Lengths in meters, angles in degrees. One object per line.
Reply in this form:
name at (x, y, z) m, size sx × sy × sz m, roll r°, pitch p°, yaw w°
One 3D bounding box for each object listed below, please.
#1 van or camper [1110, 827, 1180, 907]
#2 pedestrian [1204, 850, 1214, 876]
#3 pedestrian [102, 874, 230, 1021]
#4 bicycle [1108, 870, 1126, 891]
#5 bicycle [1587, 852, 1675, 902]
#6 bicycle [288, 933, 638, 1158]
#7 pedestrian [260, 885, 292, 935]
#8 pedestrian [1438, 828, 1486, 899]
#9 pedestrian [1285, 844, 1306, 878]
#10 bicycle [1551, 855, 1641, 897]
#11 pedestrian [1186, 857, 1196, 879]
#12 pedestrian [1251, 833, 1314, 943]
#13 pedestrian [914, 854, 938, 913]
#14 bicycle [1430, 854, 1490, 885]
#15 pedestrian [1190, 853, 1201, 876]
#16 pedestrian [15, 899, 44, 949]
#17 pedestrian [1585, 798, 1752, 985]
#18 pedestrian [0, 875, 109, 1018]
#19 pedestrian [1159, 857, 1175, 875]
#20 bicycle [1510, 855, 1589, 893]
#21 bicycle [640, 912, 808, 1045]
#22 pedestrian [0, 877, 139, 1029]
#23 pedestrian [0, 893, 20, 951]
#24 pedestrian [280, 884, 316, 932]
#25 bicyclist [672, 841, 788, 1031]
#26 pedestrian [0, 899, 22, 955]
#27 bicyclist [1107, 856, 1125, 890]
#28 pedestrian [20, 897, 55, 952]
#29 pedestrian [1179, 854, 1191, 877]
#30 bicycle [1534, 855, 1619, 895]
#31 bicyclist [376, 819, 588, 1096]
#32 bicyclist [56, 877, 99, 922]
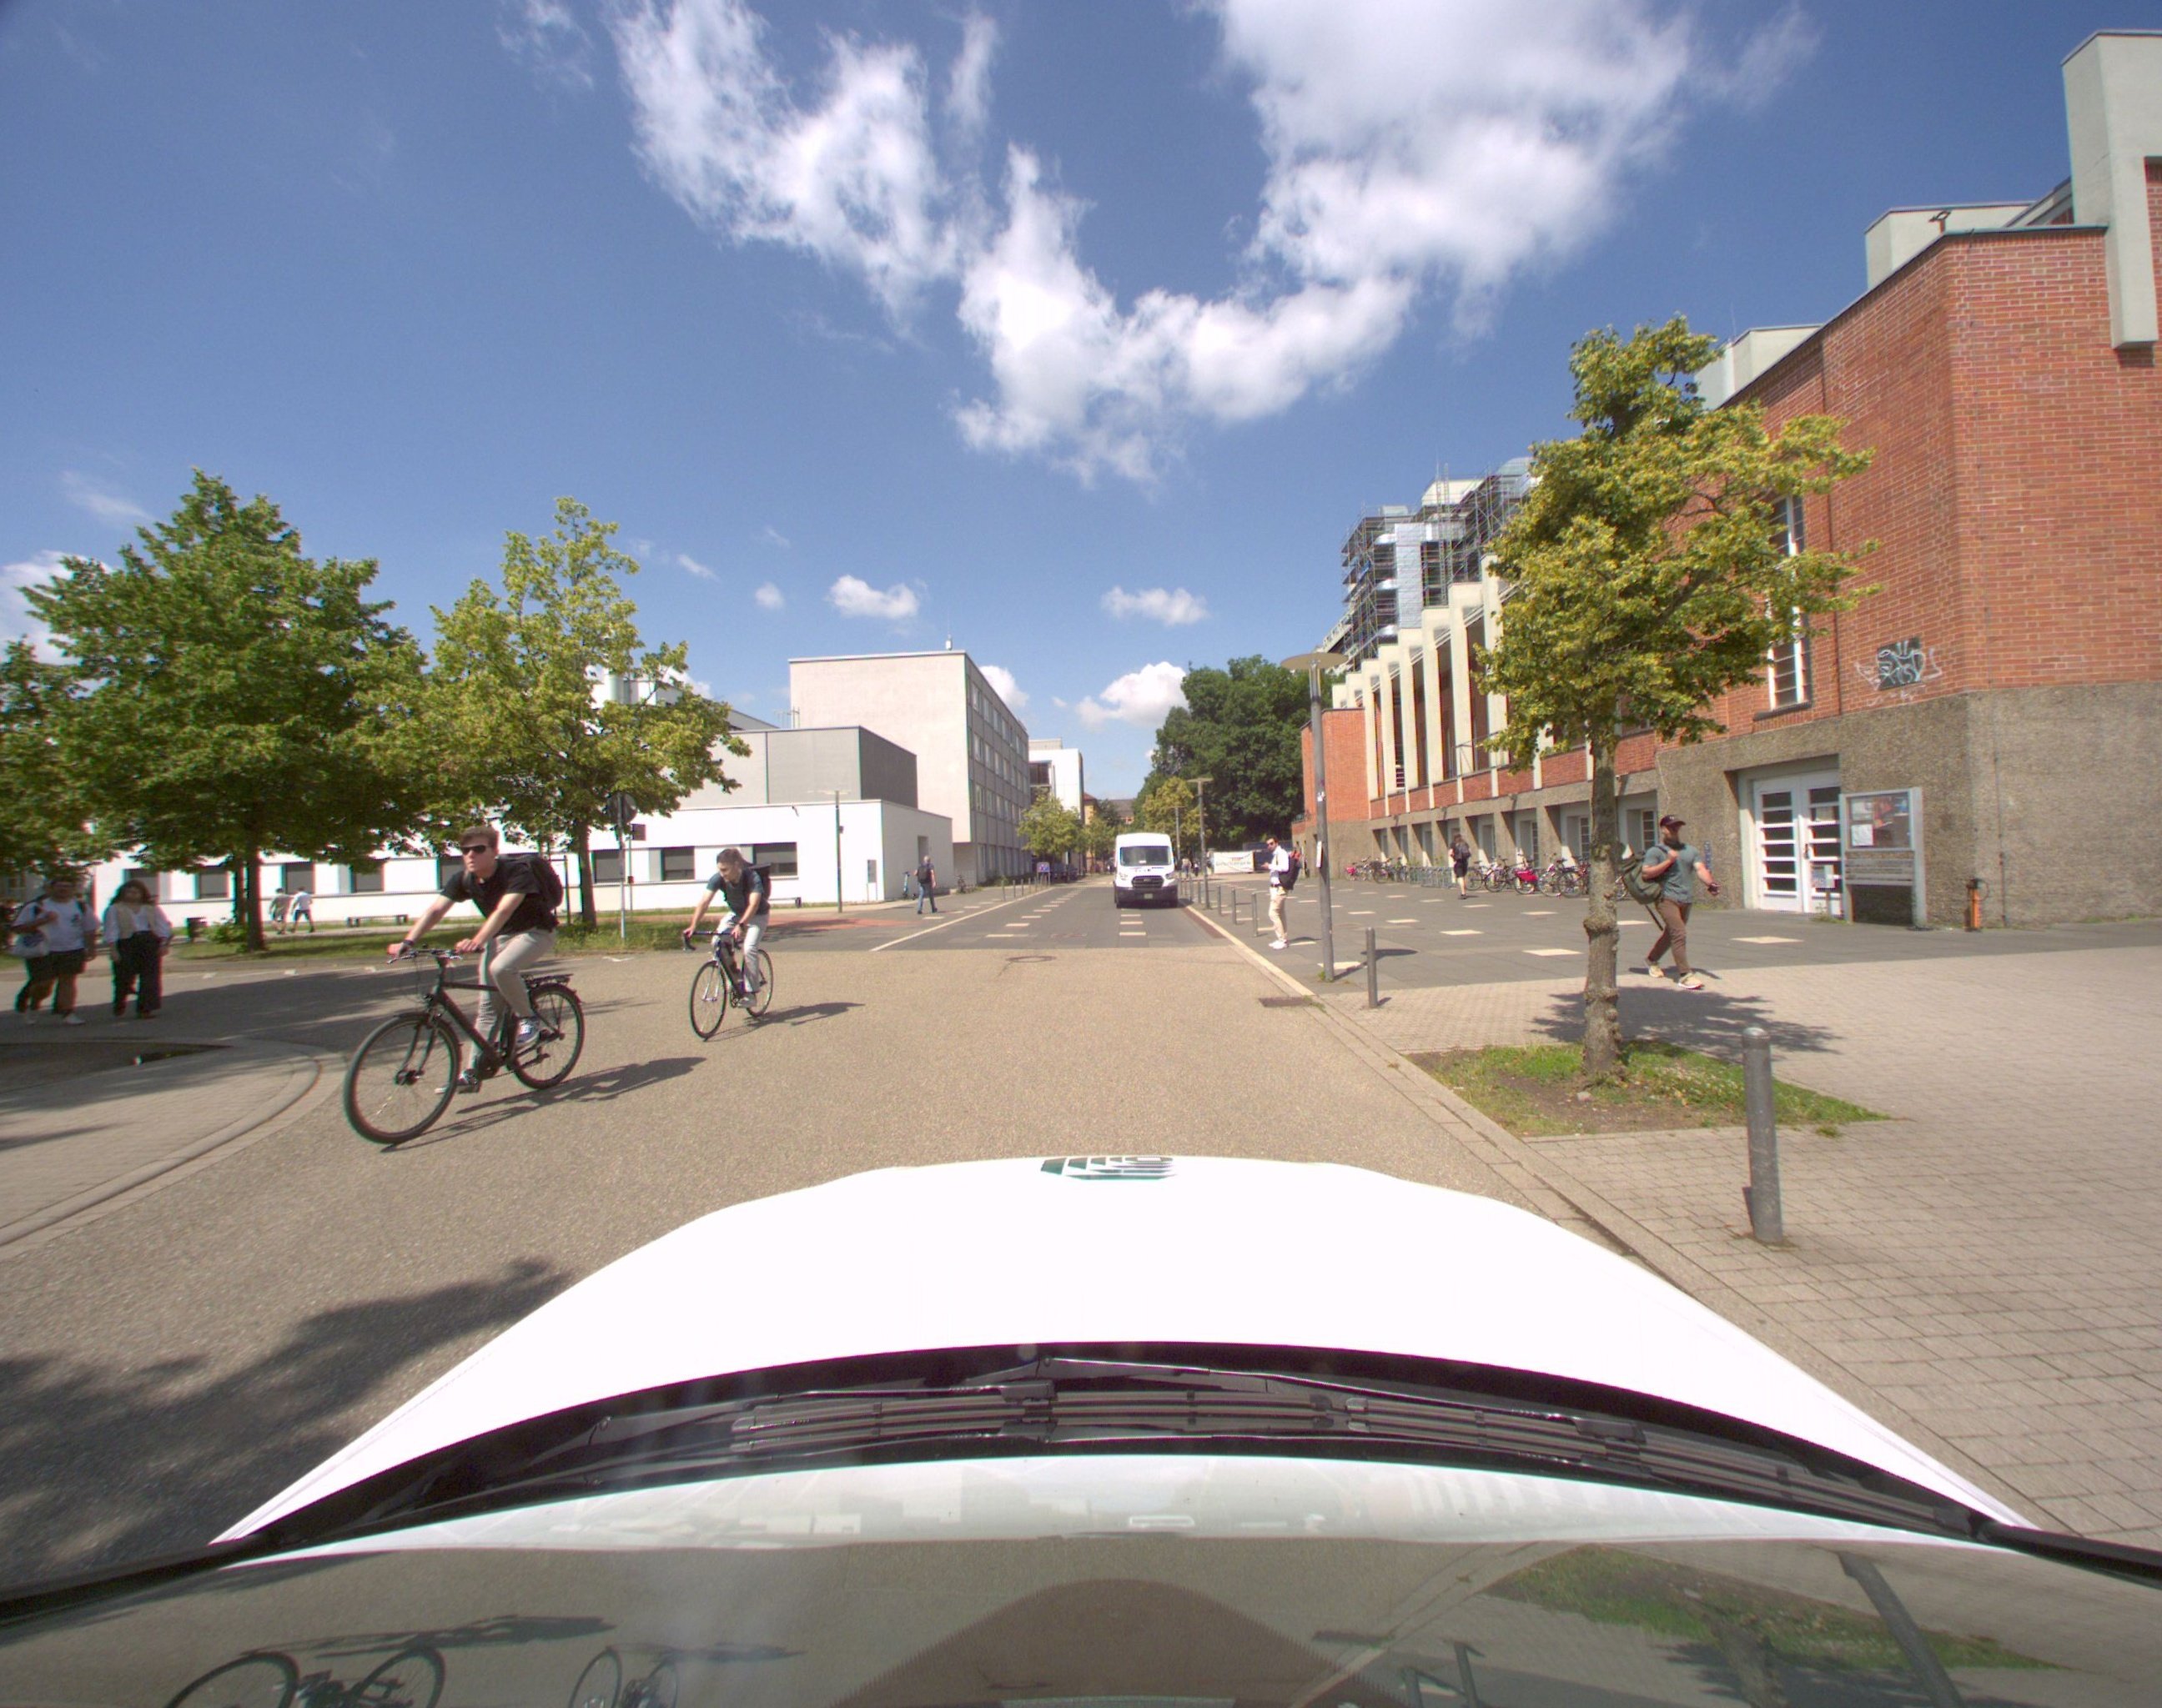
van or camper at (2.069, 0.446, 27.574) m, size 1.987 × 2.446 × 4.570 m, roll -2°, pitch -1°, yaw 1°
pedestrian at (9.296, 0.650, 59.329) m, size 0.574 × 1.860 × 0.570 m, roll -2°, pitch -1°, yaw 1°
pedestrian at (-11.557, 1.136, 10.300) m, size 0.843 × 1.708 × 0.860 m, roll -2°, pitch 1°, yaw 30°
bicycle at (1.853, 1.355, 41.631) m, size 0.702 × 0.993 × 1.915 m, roll -3°, pitch -3°, yaw 9°
bicycle at (12.381, 0.509, 18.360) m, size 1.529 × 1.033 × 0.560 m, roll -3°, pitch -1°, yaw 2°
bicycle at (-3.770, 1.098, 5.251) m, size 0.674 × 0.965 × 2.003 m, roll -2°, pitch -1°, yaw 1°
pedestrian at (-29.409, 2.028, 29.755) m, size 0.549 × 1.764 × 0.587 m, roll -2°, pitch -1°, yaw 3°
pedestrian at (10.476, 0.262, 22.445) m, size 0.786 × 1.860 × 1.117 m, roll -3°, pitch -1°, yaw 4°
pedestrian at (12.086, 0.409, 45.870) m, size 0.849 × 1.860 × 1.116 m, roll -2°, pitch -1°, yaw 1°
bicycle at (12.768, 0.535, 20.214) m, size 1.802 × 0.912 × 0.560 m, roll -3°, pitch -1°, yaw 2°
pedestrian at (9.637, 1.235, 71.372) m, size 0.786 × 1.860 × 1.027 m, roll -3°, pitch -1°, yaw 4°
pedestrian at (3.300, 0.554, 13.438) m, size 0.699 × 1.694 × 0.963 m, roll -5°, pitch -1°, yaw 3°
pedestrian at (-4.836, 0.906, 25.418) m, size 0.667 × 1.785 × 0.982 m, roll -1°, pitch -2°, yaw -10°
bicycle at (13.464, 0.535, 28.976) m, size 1.802 × 0.985 × 0.560 m, roll -4°, pitch -1°, yaw 2°
pedestrian at (9.408, 0.871, 67.099) m, size 0.786 × 1.860 × 1.027 m, roll -3°, pitch -1°, yaw 4°
pedestrian at (-43.600, 2.873, 33.787) m, size 0.614 × 2.014 × 0.653 m, roll 0°, pitch -2°, yaw -41°
pedestrian at (5.909, 0.363, 8.282) m, size 0.849 × 1.733 × 1.162 m, roll -3°, pitch -1°, yaw 6°
pedestrian at (-13.790, 1.195, 10.842) m, size 0.843 × 1.750 × 0.860 m, roll -2°, pitch 1°, yaw 28°
pedestrian at (9.871, 1.368, 93.207) m, size 1.494 × 1.996 × 1.647 m, roll -5°, pitch 0°, yaw 1°
bicycle at (12.909, 0.541, 22.472) m, size 1.802 × 0.912 × 0.560 m, roll -4°, pitch -1°, yaw 2°
bicycle at (-3.293, 1.103, 7.741) m, size 0.674 × 0.965 × 2.003 m, roll -1°, pitch -1°, yaw 1°
pedestrian at (-12.415, 1.177, 10.004) m, size 0.843 × 1.708 × 0.859 m, roll -2°, pitch 1°, yaw 26°
pedestrian at (-38.185, 2.398, 28.741) m, size 0.656 × 2.014 × 0.611 m, roll -1°, pitch -1°, yaw 2°
pedestrian at (-29.359, 2.023, 30.541) m, size 0.690 × 1.749 × 0.637 m, roll -2°, pitch -1°, yaw 3°
bicyclist at (-3.313, 0.723, 7.761) m, size 0.665 × 1.681 × 0.993 m, roll 1°, pitch 1°, yaw 0°
pedestrian at (-39.620, 2.672, 29.940) m, size 0.694 × 2.014 × 0.675 m, roll 0°, pitch -2°, yaw -41°
bicyclist at (1.801, 0.968, 41.416) m, size 0.713 × 1.662 × 1.097 m, roll -3°, pitch -2°, yaw 8°
pedestrian at (-39.158, 2.629, 30.574) m, size 0.694 × 2.014 × 0.675 m, roll 0°, pitch -2°, yaw -41°
pedestrian at (8.581, 0.916, 67.174) m, size 0.786 × 1.860 × 1.244 m, roll -3°, pitch -1°, yaw 4°
bicycle at (12.798, 0.539, 21.069) m, size 1.802 × 0.912 × 0.560 m, roll -3°, pitch -1°, yaw 2°
bicyclist at (-3.783, 0.609, 5.219) m, size 0.641 × 1.601 × 0.909 m, roll -2°, pitch -1°, yaw 2°
bicyclist at (-39.502, 1.777, 32.082) m, size 0.691 × 1.756 × 0.807 m, roll -1°, pitch -2°, yaw -13°
